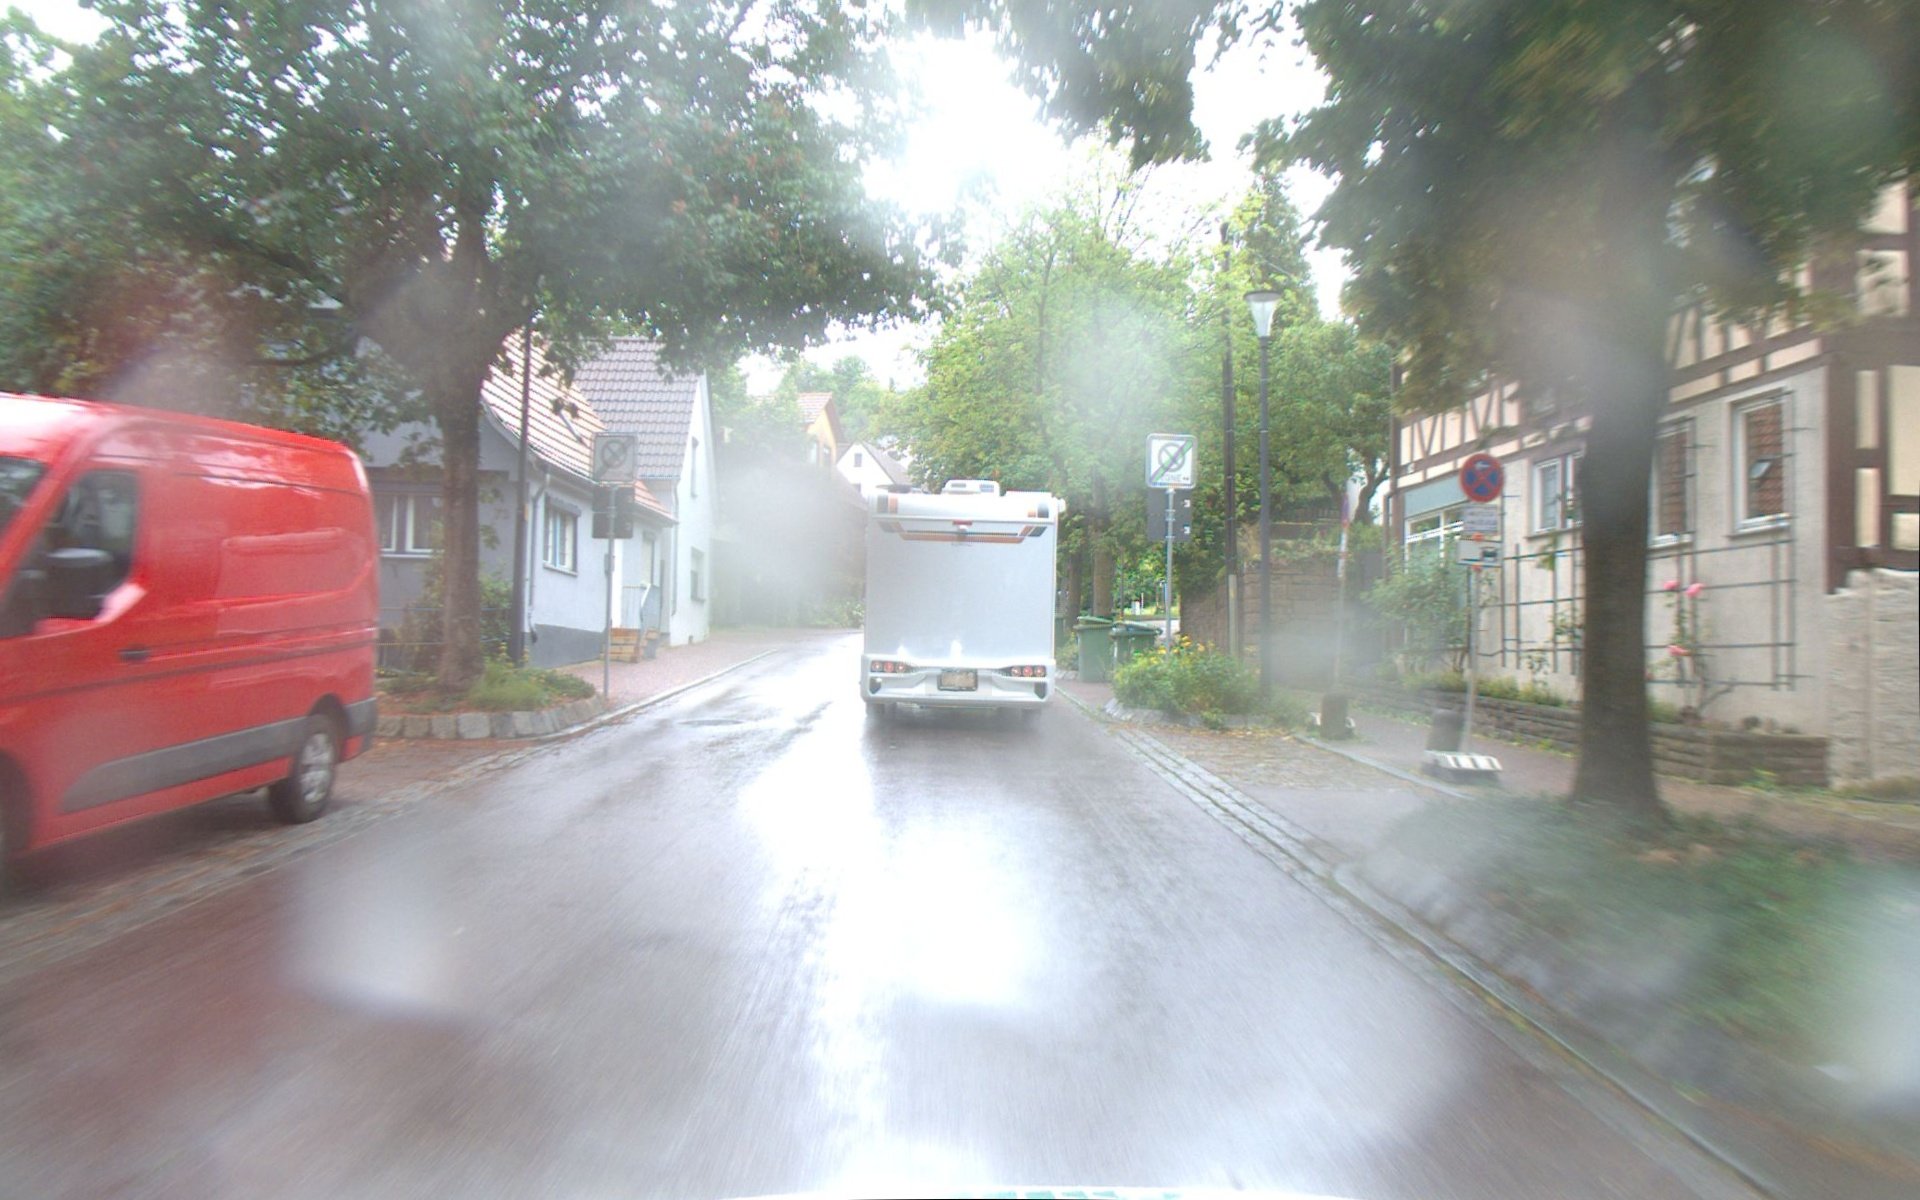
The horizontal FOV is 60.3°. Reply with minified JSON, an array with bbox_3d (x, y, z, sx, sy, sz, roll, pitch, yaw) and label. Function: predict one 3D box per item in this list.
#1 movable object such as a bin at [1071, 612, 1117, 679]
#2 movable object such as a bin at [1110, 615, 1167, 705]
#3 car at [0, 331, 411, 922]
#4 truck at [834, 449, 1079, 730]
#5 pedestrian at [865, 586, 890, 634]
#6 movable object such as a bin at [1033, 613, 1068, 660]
[{"bbox_3d":[2.379,0.802,29.431,0.709,1.163,0.703,1,-1,-4],"label":"movable object such as a bin"},{"bbox_3d":[2.536,0.847,23.522,0.706,1.234,0.727,1,-1,-1],"label":"movable object such as a bin"},{"bbox_3d":[-5.177,0.074,9.035,2.256,2.526,5.786,1,1,1],"label":"car"},{"bbox_3d":[-0.098,-0.083,21.381,2.640,3.038,6.234,1,-1,-1],"label":"truck"},{"bbox_3d":[-3.313,0.411,66.343,0.776,1.901,0.917,1,-1,12],"label":"pedestrian"},{"bbox_3d":[2.169,0.871,39.729,0.753,1.126,0.884,-1,0,-1],"label":"movable object such as a bin"}]
